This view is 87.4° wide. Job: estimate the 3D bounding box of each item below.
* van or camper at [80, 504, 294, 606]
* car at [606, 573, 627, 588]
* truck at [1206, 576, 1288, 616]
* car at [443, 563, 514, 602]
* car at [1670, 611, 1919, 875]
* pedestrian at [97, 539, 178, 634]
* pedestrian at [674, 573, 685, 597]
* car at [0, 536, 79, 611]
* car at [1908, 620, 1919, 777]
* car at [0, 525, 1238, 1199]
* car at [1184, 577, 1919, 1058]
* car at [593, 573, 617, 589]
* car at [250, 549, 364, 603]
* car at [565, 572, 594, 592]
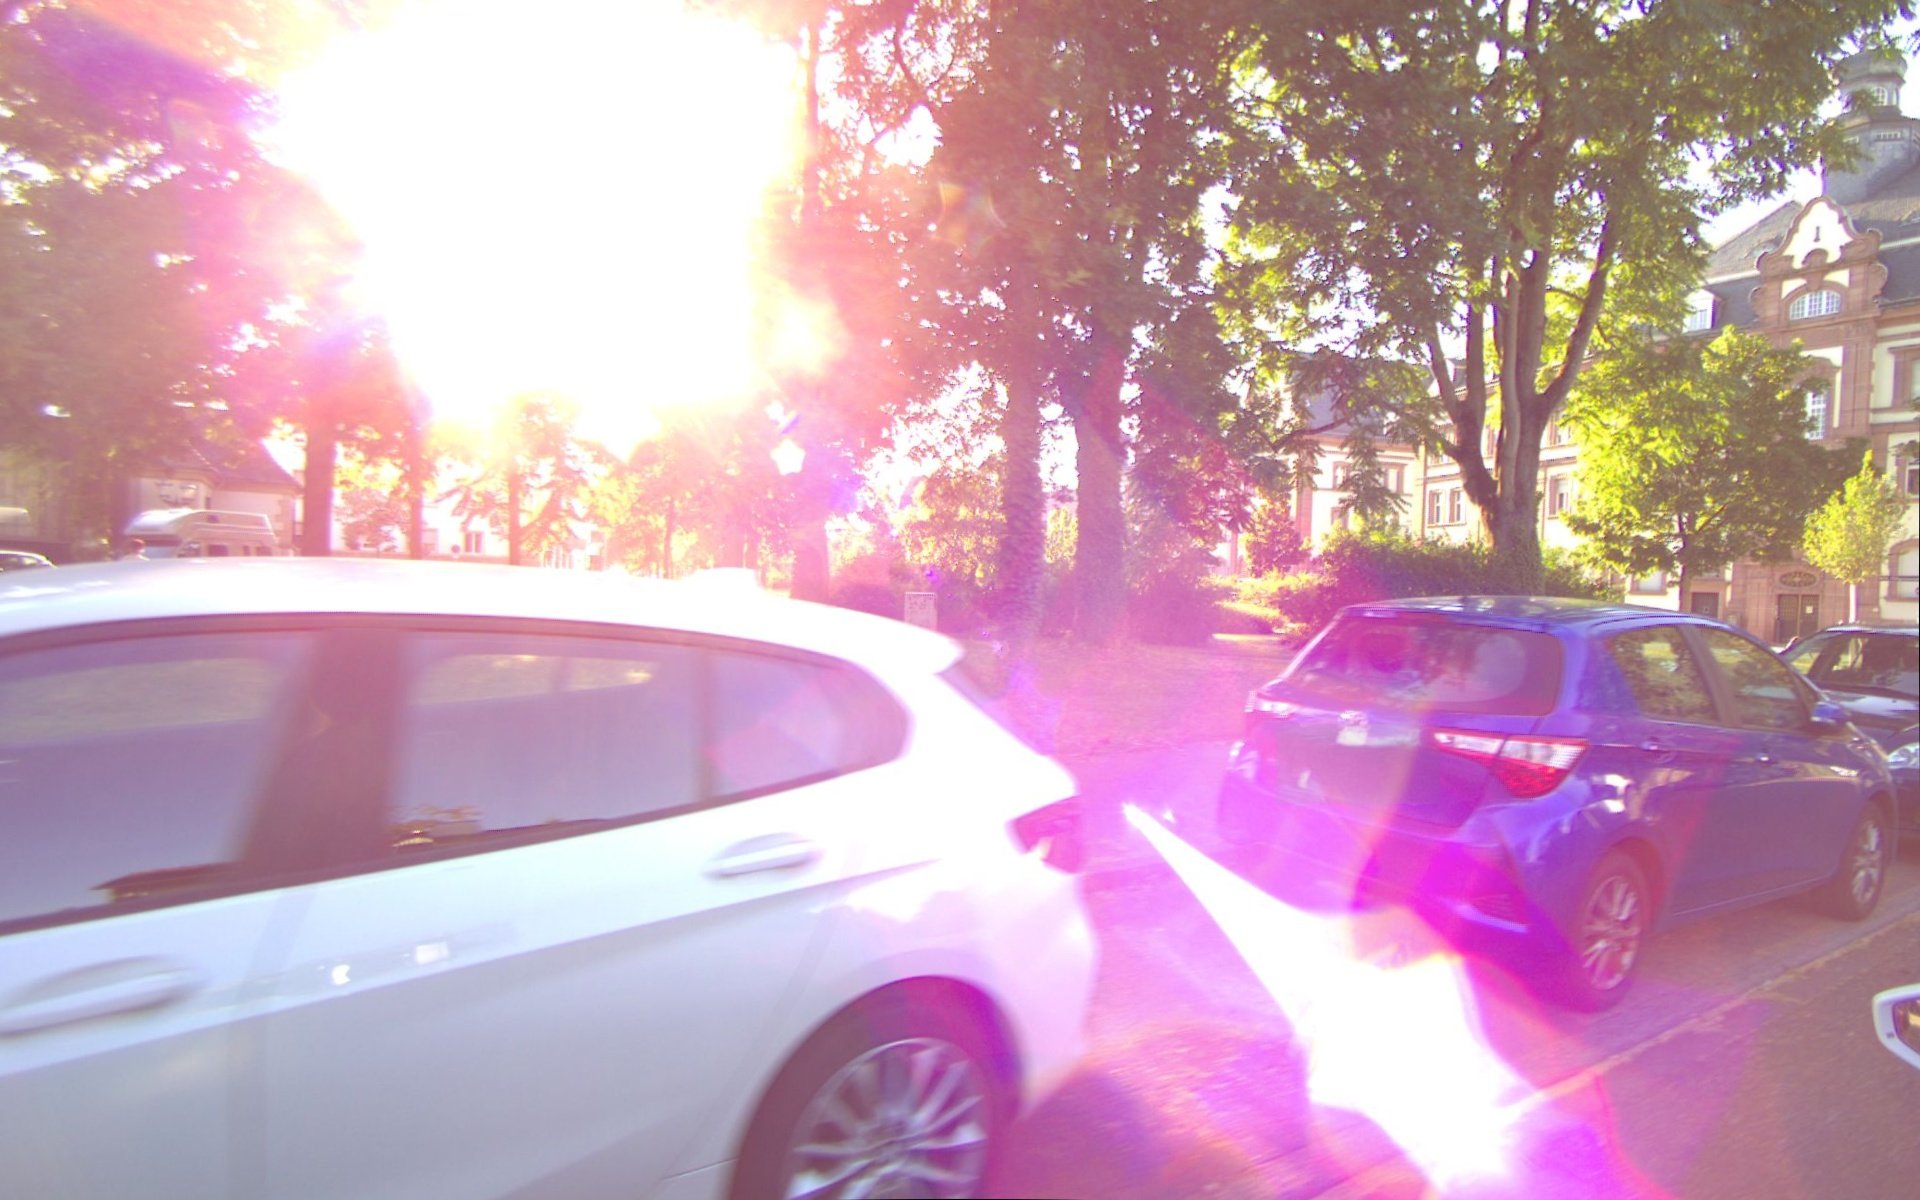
[{"bbox_3d":[-24.995,-1.383,32.924,2.055,2.947,6.331,2,1,0],"label":"van or camper"},{"bbox_3d":[-35.649,-2.041,104.438,1.657,1.432,3.866,2,1,-14],"label":"car"},{"bbox_3d":[23.908,-0.432,84.071,2.571,3.070,7.978,2,1,-17],"label":"truck"},{"bbox_3d":[-24.962,-0.912,52.207,1.821,1.911,4.142,2,1,-3],"label":"car"},{"bbox_3d":[7.136,0.907,7.430,3.896,1.514,1.544,2,1,-30],"label":"car"},{"bbox_3d":[-14.329,-0.234,17.514,0.760,1.596,0.768,2,1,12],"label":"pedestrian"},{"bbox_3d":[-19.410,-1.022,69.498,0.626,1.619,0.668,2,1,-20],"label":"pedestrian"},{"bbox_3d":[-25.185,-0.711,25.660,1.821,1.911,4.142,2,1,-3],"label":"car"},{"bbox_3d":[11.457,1.037,10.385,3.825,1.546,1.582,1,1,-34],"label":"car"},{"bbox_3d":[-1.493,0.596,1.991,3.931,1.425,1.680,2,3,-32],"label":"car"},{"bbox_3d":[3.056,0.746,4.957,3.664,1.516,1.629,2,3,-32],"label":"car"},{"bbox_3d":[-33.599,-1.786,95.158,1.657,1.432,3.866,2,1,-14],"label":"car"},{"bbox_3d":[-25.176,-0.932,38.894,1.821,1.911,4.142,2,1,-3],"label":"car"},{"bbox_3d":[-29.568,-1.374,78.148,1.488,1.466,3.399,2,1,-10],"label":"car"}]
